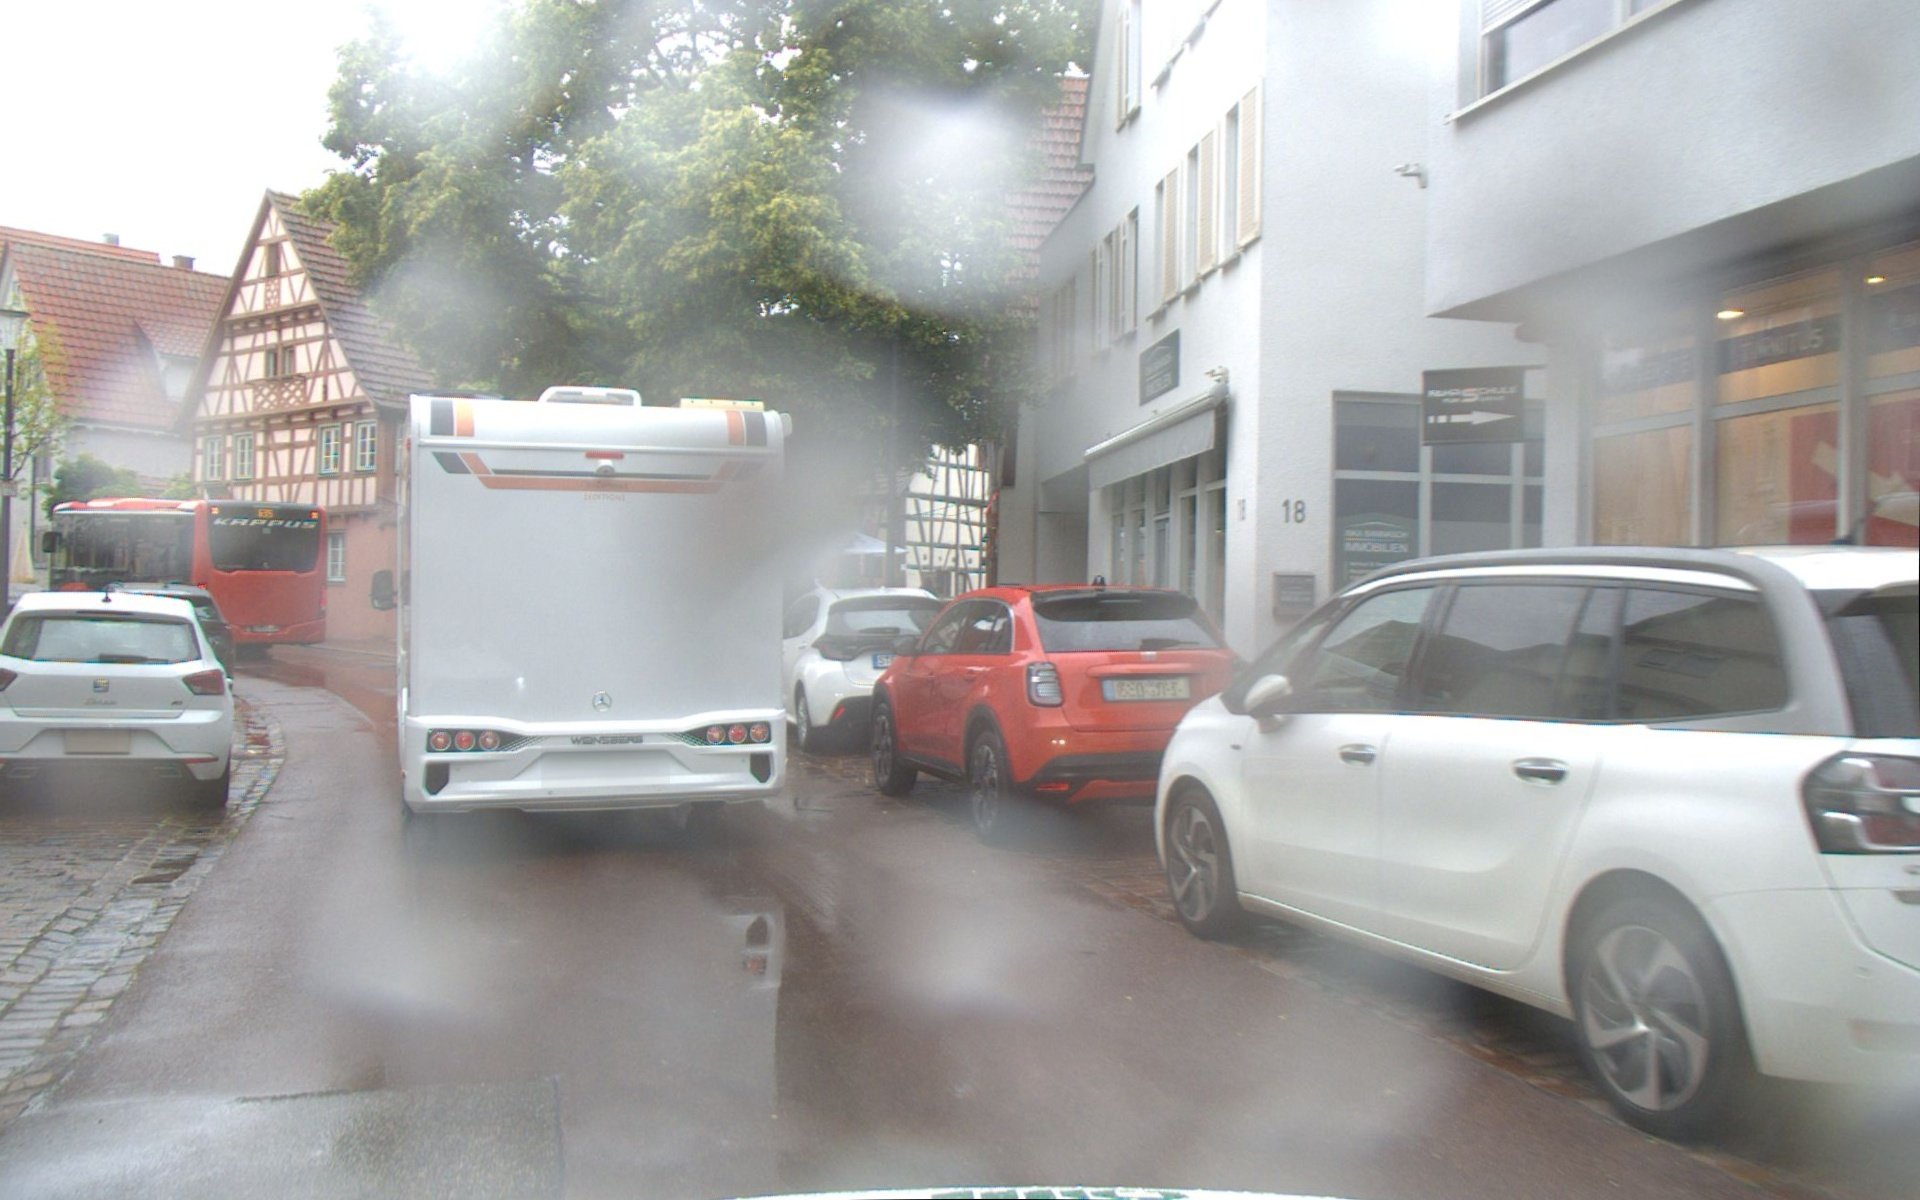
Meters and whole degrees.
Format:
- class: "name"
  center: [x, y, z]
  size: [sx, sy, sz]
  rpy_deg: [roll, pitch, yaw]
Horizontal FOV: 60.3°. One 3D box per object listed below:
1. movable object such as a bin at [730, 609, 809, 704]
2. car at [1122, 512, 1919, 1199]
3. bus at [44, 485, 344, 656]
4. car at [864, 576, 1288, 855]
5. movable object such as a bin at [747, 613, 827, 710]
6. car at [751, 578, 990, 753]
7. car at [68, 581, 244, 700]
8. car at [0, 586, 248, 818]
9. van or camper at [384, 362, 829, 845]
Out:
- class: "movable object such as a bin"
  center: [-2.332, 0.690, 20.211]
  size: [0.821, 1.132, 0.585]
  rpy_deg: [2, -1, -22]
- class: "car"
  center: [2.323, 0.642, 6.183]
  size: [1.749, 1.659, 4.444]
  rpy_deg: [1, 0, -19]
- class: "bus"
  center: [-16.629, -0.580, 35.349]
  size: [2.798, 3.142, 10.442]
  rpy_deg: [1, 0, -42]
- class: "car"
  center: [0.591, 0.627, 11.257]
  size: [1.650, 1.555, 3.781]
  rpy_deg: [0, 0, -17]
- class: "movable object such as a bin"
  center: [-2.060, 0.724, 19.680]
  size: [0.821, 1.132, 0.557]
  rpy_deg: [2, -1, -22]
- class: "car"
  center: [-1.020, 0.557, 16.748]
  size: [1.649, 1.555, 3.783]
  rpy_deg: [0, 1, -16]
- class: "car"
  center: [-11.067, 0.502, 22.640]
  size: [1.705, 1.439, 3.936]
  rpy_deg: [2, 0, -32]
- class: "car"
  center: [-6.500, 0.668, 12.593]
  size: [1.701, 1.439, 3.946]
  rpy_deg: [3, -1, -27]
- class: "van or camper"
  center: [-3.057, 0.021, 12.599]
  size: [2.402, 2.631, 6.711]
  rpy_deg: [1, 0, -20]
